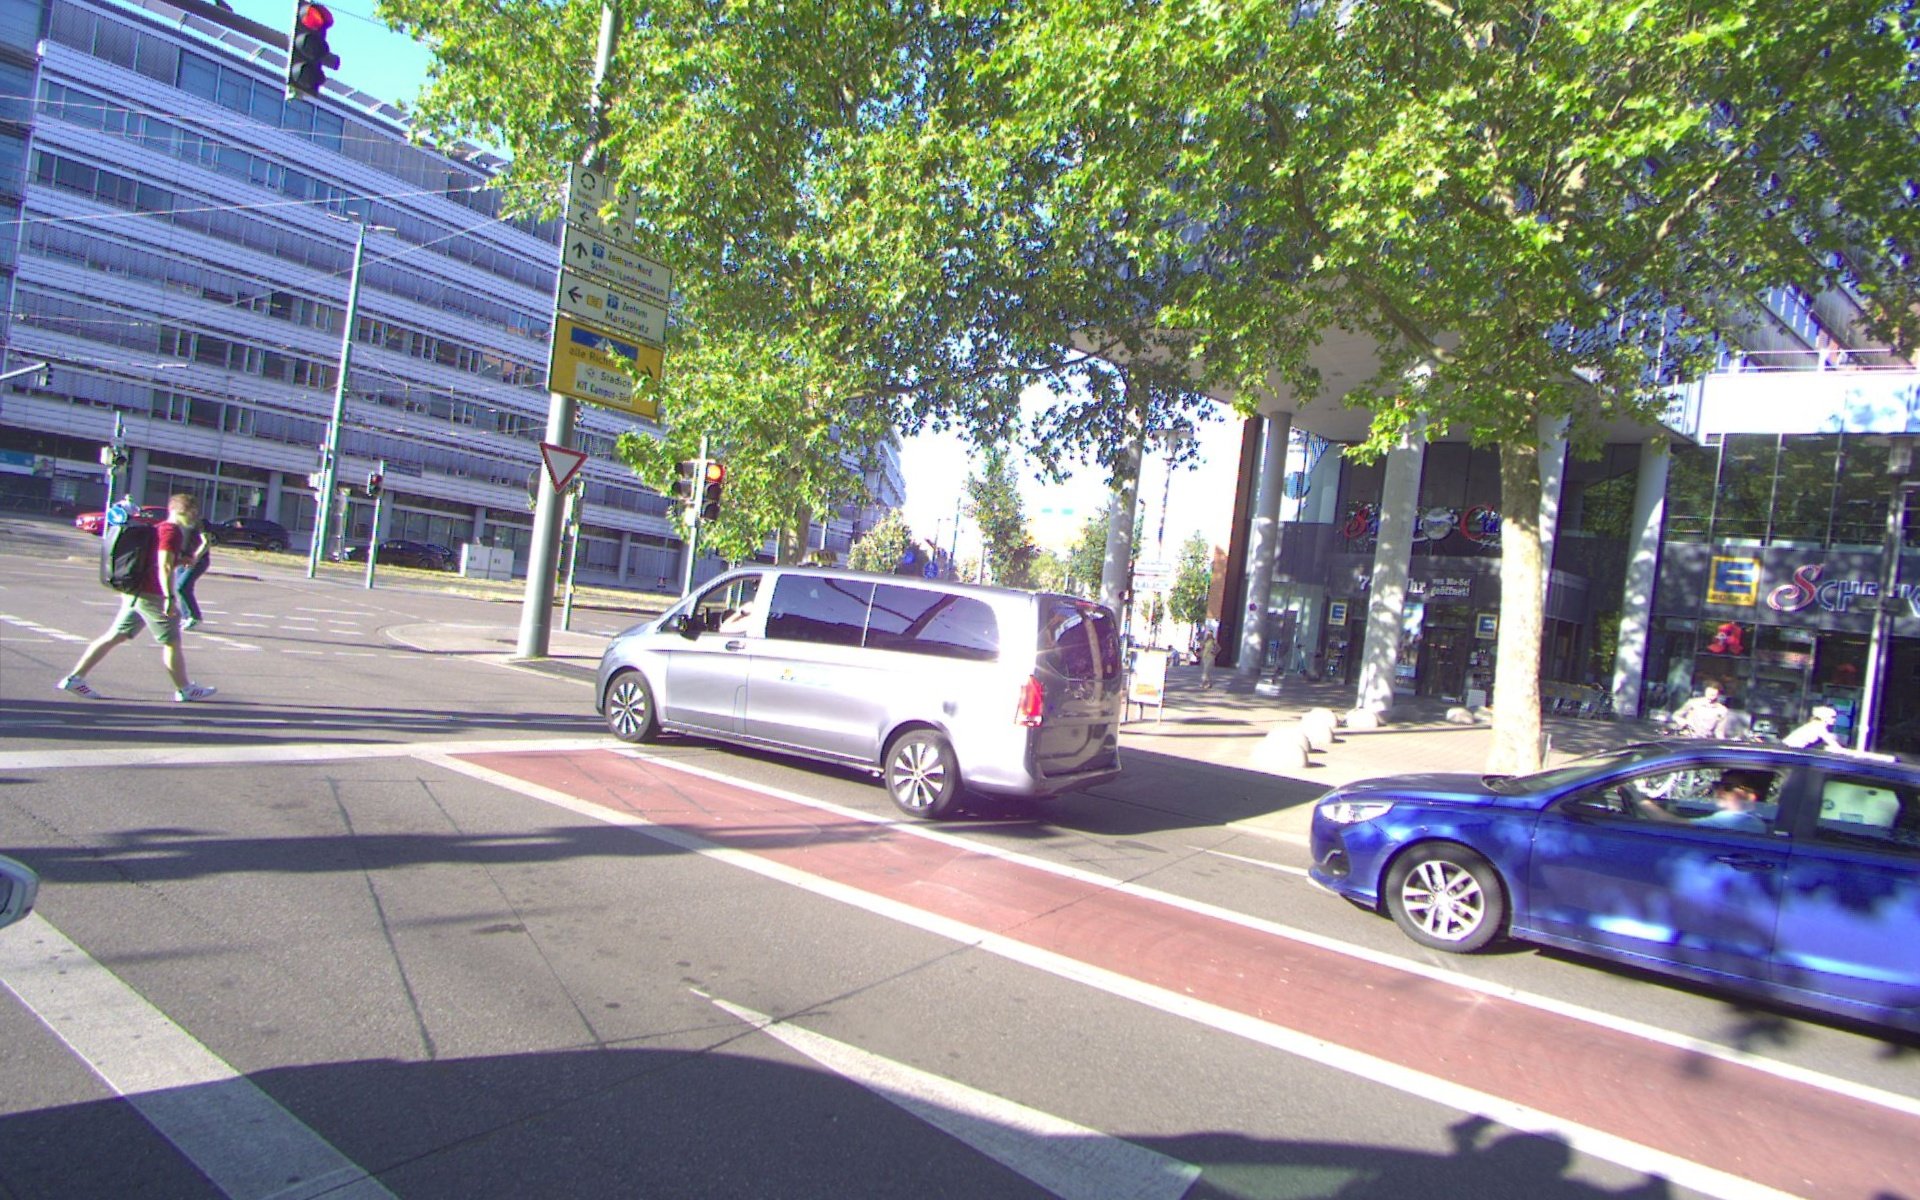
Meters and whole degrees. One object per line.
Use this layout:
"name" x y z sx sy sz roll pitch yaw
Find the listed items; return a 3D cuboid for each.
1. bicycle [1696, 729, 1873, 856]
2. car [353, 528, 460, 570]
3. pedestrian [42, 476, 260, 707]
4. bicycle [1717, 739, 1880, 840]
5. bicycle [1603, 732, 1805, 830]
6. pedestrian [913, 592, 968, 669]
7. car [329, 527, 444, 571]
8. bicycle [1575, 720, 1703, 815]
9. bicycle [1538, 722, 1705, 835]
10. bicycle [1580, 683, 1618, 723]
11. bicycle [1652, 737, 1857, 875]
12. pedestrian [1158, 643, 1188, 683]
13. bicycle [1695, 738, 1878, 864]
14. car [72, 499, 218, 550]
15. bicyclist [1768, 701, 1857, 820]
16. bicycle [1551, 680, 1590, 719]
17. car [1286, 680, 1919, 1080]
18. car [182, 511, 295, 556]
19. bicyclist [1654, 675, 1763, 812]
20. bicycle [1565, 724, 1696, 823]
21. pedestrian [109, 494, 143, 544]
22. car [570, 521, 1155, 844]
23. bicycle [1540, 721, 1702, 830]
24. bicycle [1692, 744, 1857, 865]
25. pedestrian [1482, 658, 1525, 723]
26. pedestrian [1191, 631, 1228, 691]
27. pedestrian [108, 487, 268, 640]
"bicycle" 9.720 2.247 11.916 1.451 1.174 0.421 7 1 30
"car" -27.551 -2.511 50.179 1.769 1.452 4.239 7 0 38
"pedestrian" -6.586 -0.033 8.231 0.617 1.735 1.076 7 -1 28
"bicycle" 12.753 2.851 15.342 0.564 1.140 1.757 6 1 -43
"bicycle" 10.608 2.555 14.438 0.661 0.945 2.167 7 0 -31
"pedestrian" -0.489 0.781 25.745 0.855 1.841 0.846 7 -1 38
"car" -26.609 -2.352 46.779 1.768 1.409 4.241 7 0 36
"bicycle" 9.306 2.279 13.828 0.393 1.038 1.305 6 1 -42
"bicycle" 7.953 2.125 12.161 1.545 1.038 0.461 7 1 29
"bicycle" 20.341 3.272 31.990 0.709 1.142 1.912 7 0 39
"bicycle" 8.313 2.123 10.603 1.548 1.070 0.627 7 1 38
"pedestrian" 8.347 2.456 39.363 0.763 1.460 0.705 7 1 34
"bicycle" 9.337 2.248 11.428 1.451 1.095 0.421 7 1 30
"car" -33.337 -3.066 41.272 1.766 1.409 4.246 7 0 32
"bicyclist" 12.906 2.414 15.235 0.560 1.636 0.811 6 1 -43
"bicycle" 19.718 3.224 32.482 0.709 1.142 1.912 7 0 39
"car" 4.344 1.515 6.001 4.147 1.482 1.767 7 0 32
"car" -33.689 -3.090 47.061 1.766 1.525 3.863 7 0 33
"bicyclist" 10.687 2.035 14.377 0.744 1.790 0.845 6 1 -30
"bicycle" 8.947 2.293 13.459 0.393 1.038 1.305 6 1 -42
"pedestrian" -30.785 -2.993 37.122 0.549 1.701 0.720 7 -1 39
"car" -1.046 0.585 9.355 5.052 1.988 1.997 7 -1 32
"bicycle" 8.231 2.170 12.598 1.545 1.038 0.461 7 1 29
"bicycle" 10.180 2.534 12.636 1.452 1.174 0.421 7 1 33
"pedestrian" 15.096 2.509 27.937 0.851 1.661 0.967 7 1 28
"pedestrian" 7.350 1.795 29.631 0.694 1.662 0.775 7 1 27
"pedestrian" -10.463 -0.473 13.666 1.023 1.843 1.212 7 -1 26
